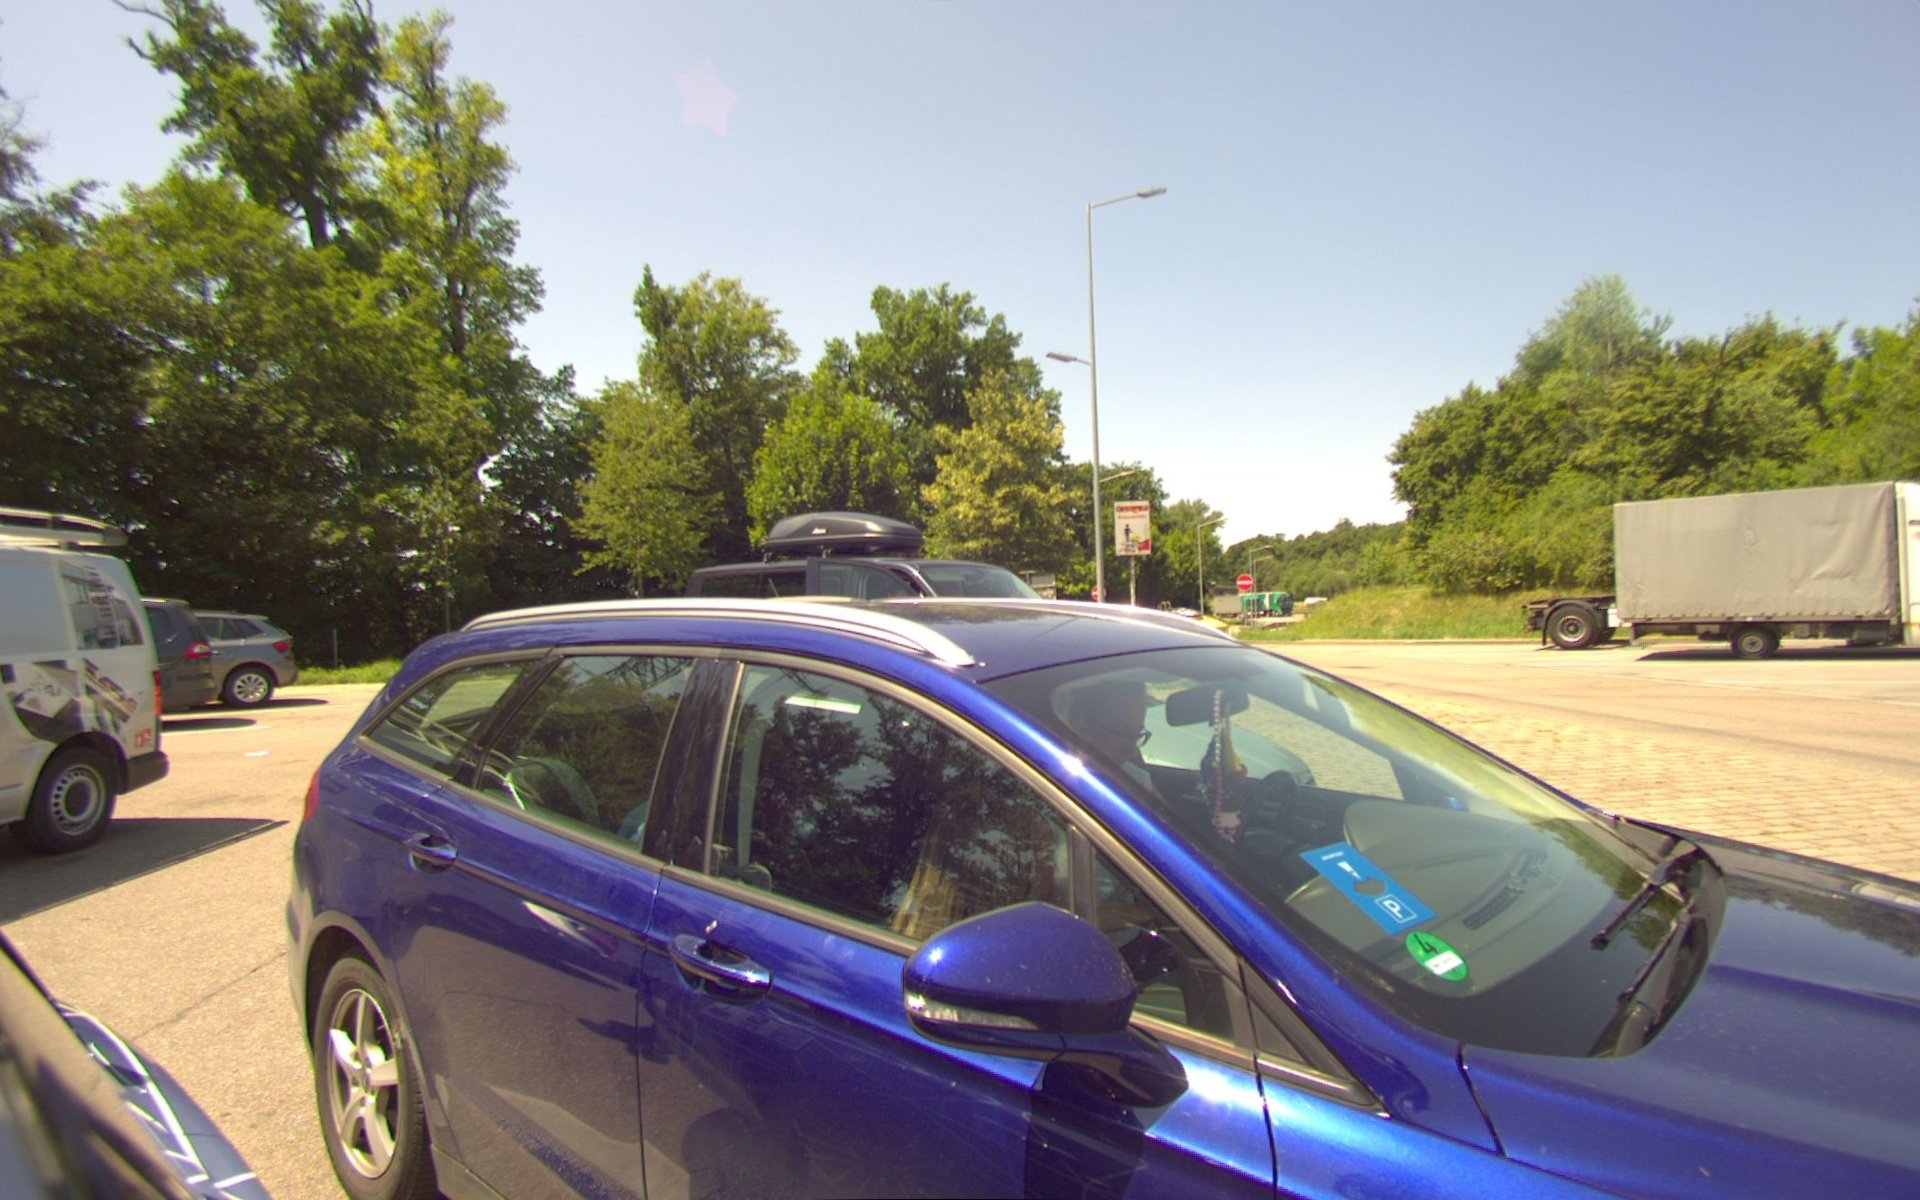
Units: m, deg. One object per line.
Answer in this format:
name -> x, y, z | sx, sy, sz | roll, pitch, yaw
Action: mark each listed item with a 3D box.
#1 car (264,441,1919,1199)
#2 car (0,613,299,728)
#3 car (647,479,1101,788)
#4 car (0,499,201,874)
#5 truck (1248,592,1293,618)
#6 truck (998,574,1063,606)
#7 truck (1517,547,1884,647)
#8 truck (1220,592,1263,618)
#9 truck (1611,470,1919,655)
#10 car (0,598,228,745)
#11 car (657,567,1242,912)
car -> 0.241, 0.642, 2.075 | 4.411, 1.429, 1.721 | -2, -1, 41
car -> -12.514, 0.993, 15.727 | 3.535, 1.513, 1.708 | -1, 0, -42
car -> -0.918, 0.315, 9.575 | 4.076, 2.336, 1.767 | -2, -1, 35
car -> -6.256, 0.474, 4.659 | 1.816, 2.121, 5.440 | 0, -1, -5
truck -> 51.944, 0.780, 169.452 | 2.682, 4.119, 11.506 | -1, 0, -7
truck -> 3.401, -0.471, 48.802 | 2.866, 1.386, 1.158 | -2, -1, 22
truck -> 16.874, 0.042, 23.480 | 6.613, 2.029, 1.973 | -2, -1, 41
truck -> 47.211, 0.843, 170.105 | 2.682, 4.119, 11.506 | -1, 0, -7
truck -> 16.603, -0.628, 18.833 | 7.253, 3.175, 2.148 | -2, -1, 41
car -> -11.600, 0.854, 12.601 | 1.755, 1.701, 3.798 | -2, -1, 45
car -> -0.210, 0.593, 5.564 | 3.112, 1.370, 1.326 | -2, -1, 41
